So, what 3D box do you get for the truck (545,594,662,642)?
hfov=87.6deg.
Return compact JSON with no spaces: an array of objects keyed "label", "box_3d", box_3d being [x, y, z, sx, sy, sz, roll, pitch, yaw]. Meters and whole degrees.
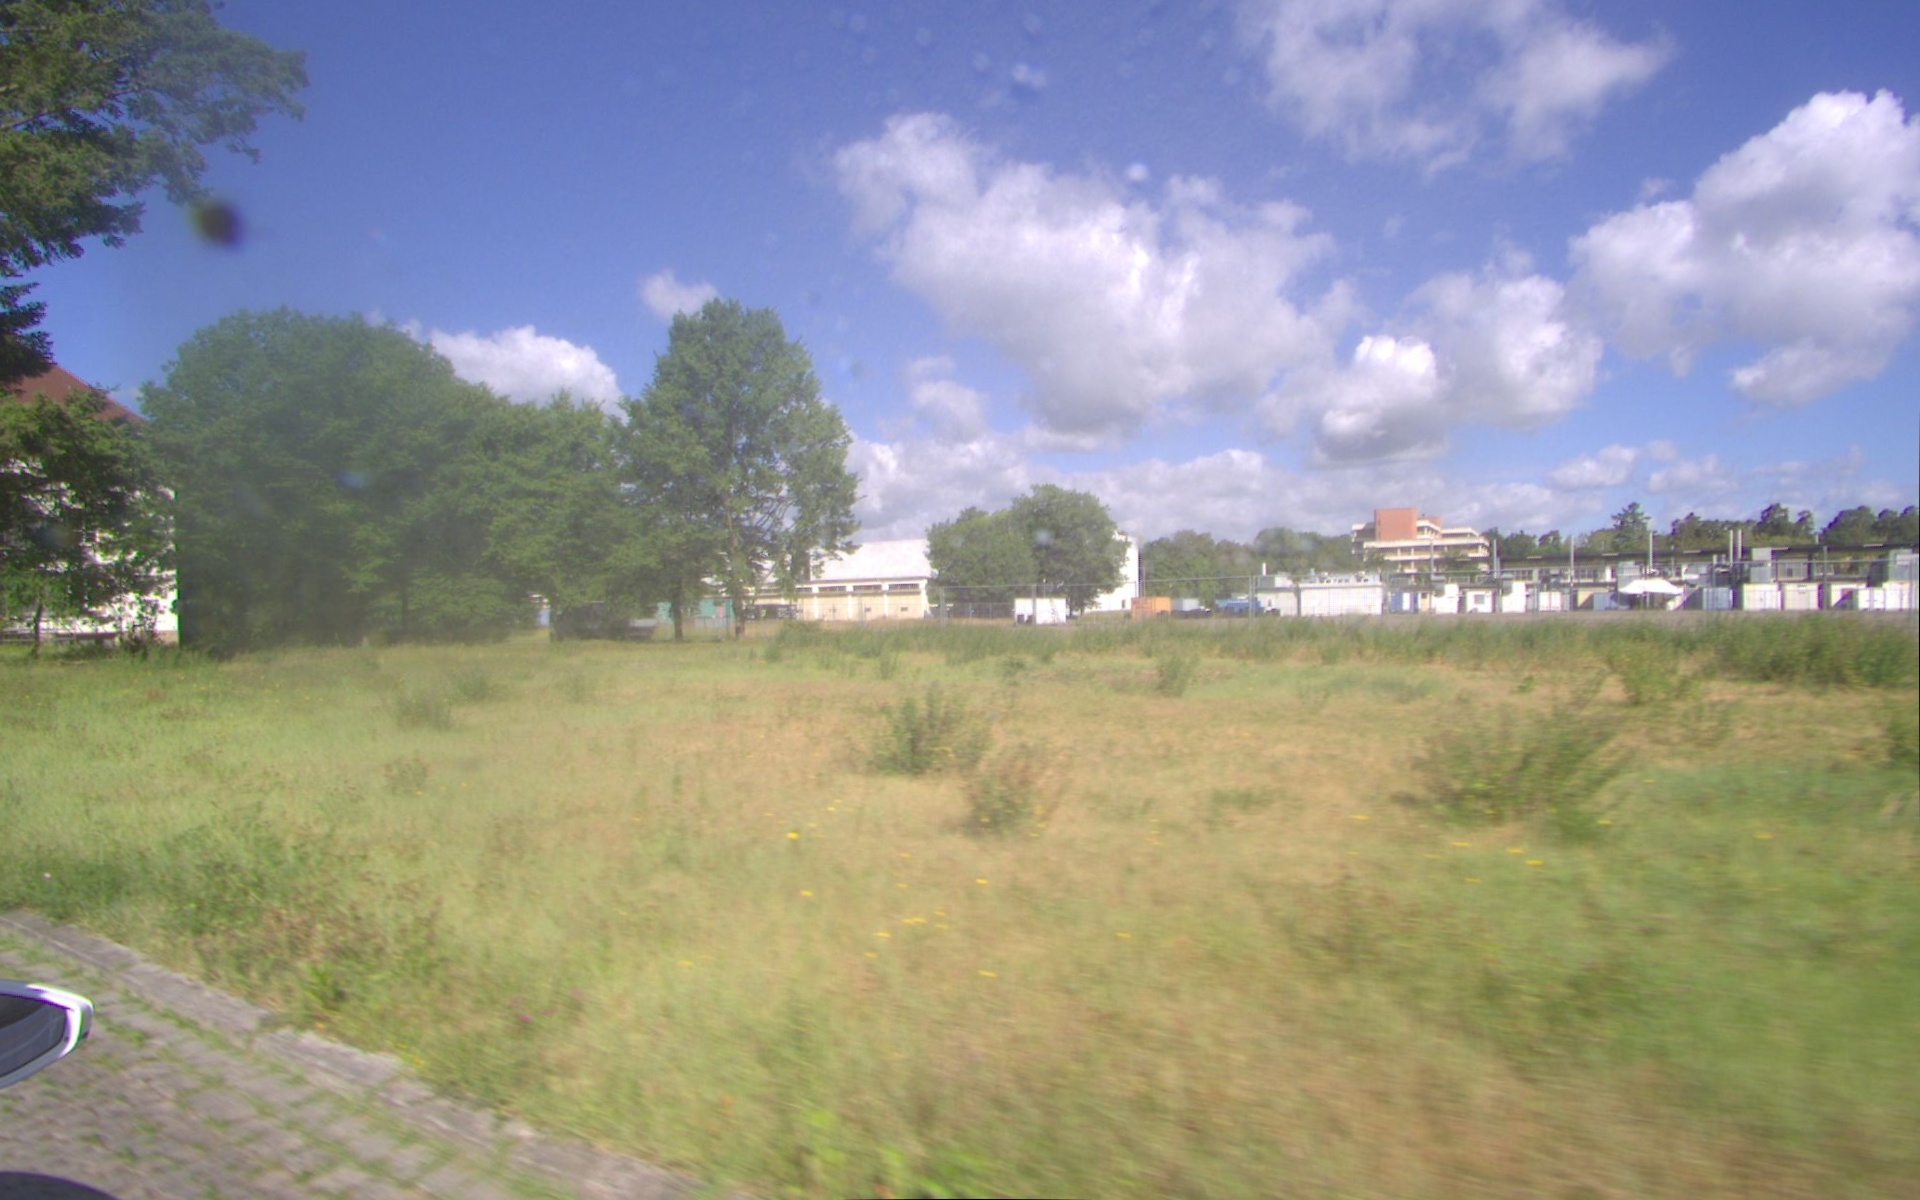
[{"label":"truck","box_3d":[-19.319,1.022,54.178,6.787,2.454,2.230,-1,-2,32]}]
